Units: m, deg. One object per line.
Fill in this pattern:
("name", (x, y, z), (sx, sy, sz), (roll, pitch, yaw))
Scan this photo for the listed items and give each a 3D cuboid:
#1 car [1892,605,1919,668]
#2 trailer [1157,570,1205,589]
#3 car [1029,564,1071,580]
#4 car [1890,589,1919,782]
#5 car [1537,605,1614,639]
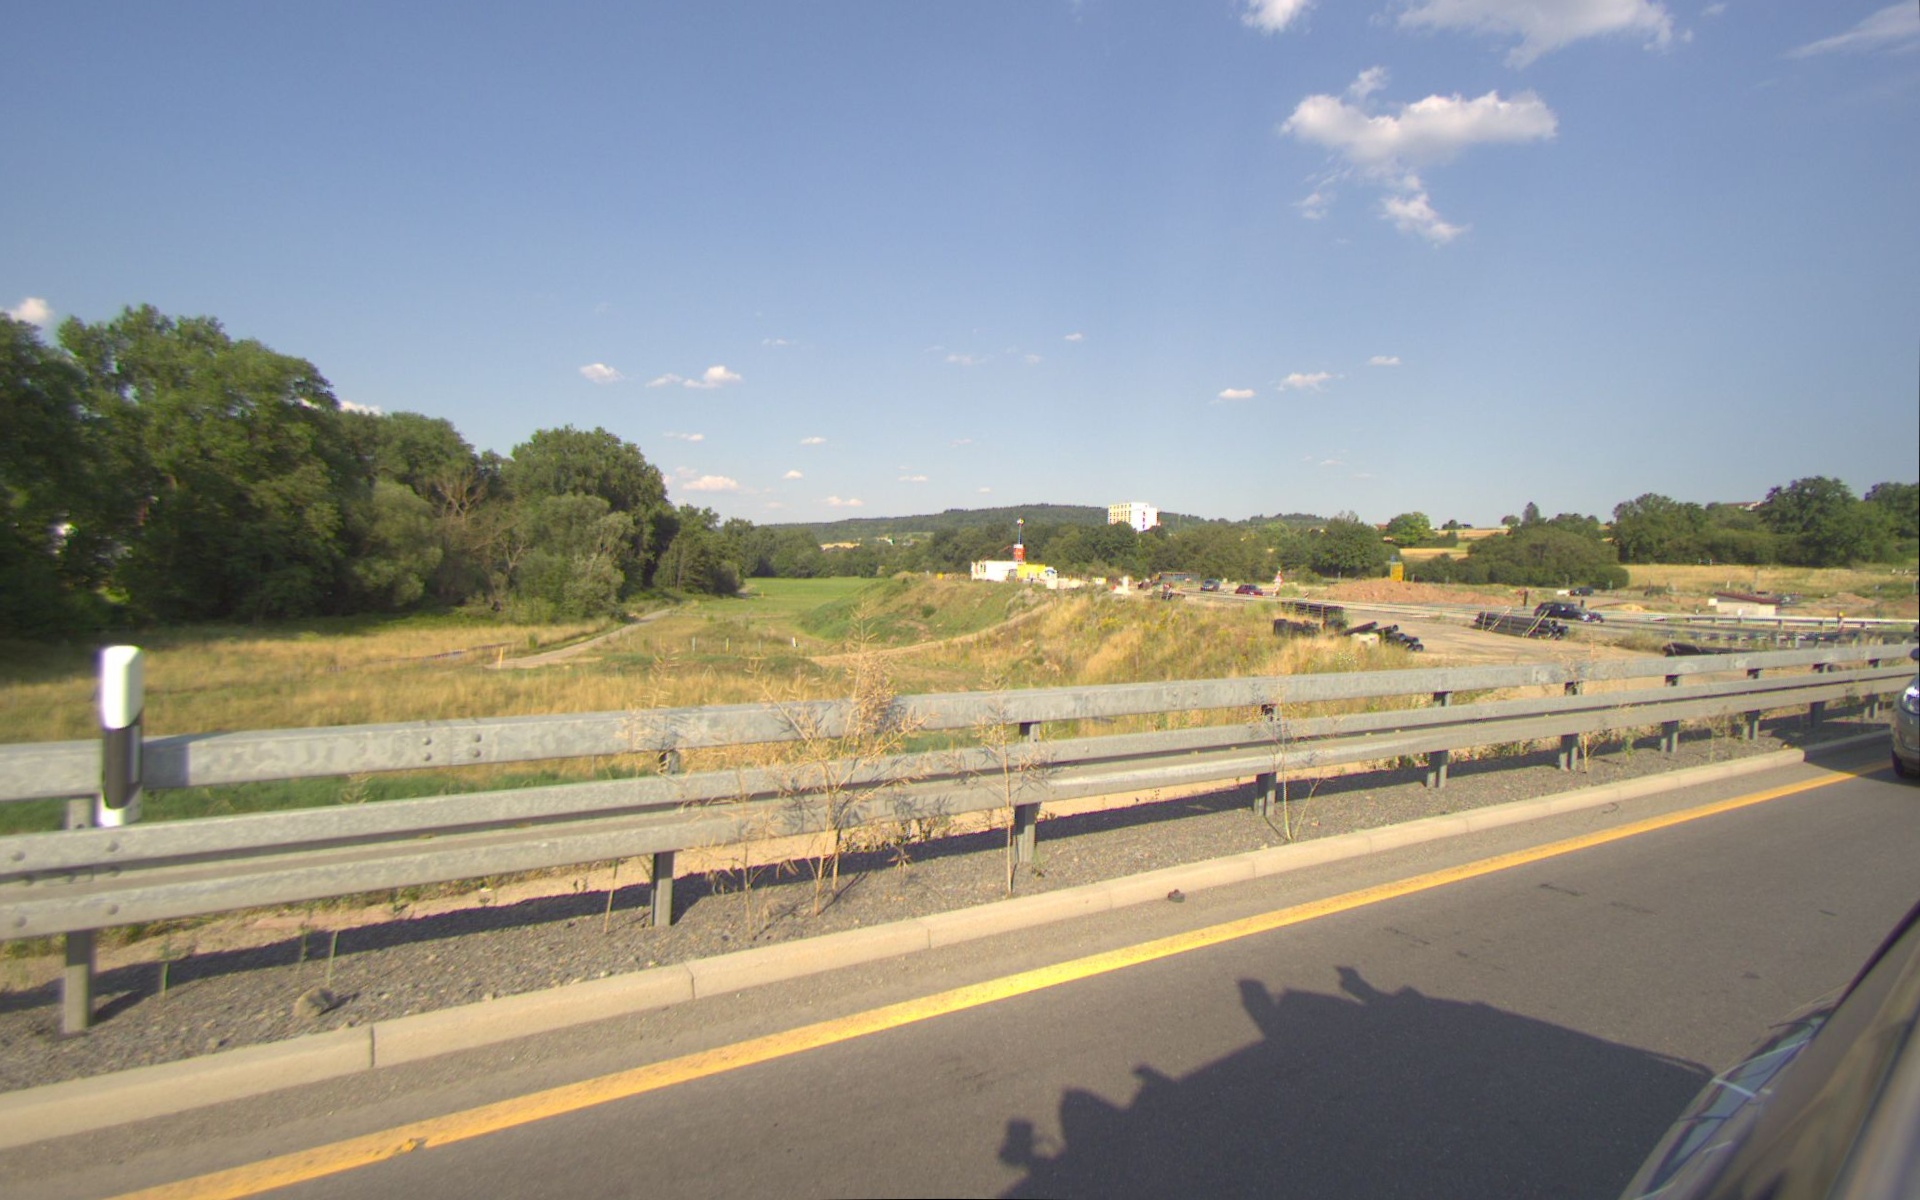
("car", (38.785, 1.531, 39.087), (1.843, 2.432, 3.998), (2, 3, 3))
("trailer", (30.633, -2.825, 140.108), (7.105, 2.443, 3.009), (-1, 3, -42))
("car", (12.802, -3.980, 143.886), (5.208, 2.104, 2.494), (1, 3, -21))
("car", (9.628, 0.693, 8.448), (4.168, 1.503, 1.750), (0, 0, -33))
("car", (37.995, 1.340, 62.592), (1.603, 1.808, 4.137), (1, 3, -12))
